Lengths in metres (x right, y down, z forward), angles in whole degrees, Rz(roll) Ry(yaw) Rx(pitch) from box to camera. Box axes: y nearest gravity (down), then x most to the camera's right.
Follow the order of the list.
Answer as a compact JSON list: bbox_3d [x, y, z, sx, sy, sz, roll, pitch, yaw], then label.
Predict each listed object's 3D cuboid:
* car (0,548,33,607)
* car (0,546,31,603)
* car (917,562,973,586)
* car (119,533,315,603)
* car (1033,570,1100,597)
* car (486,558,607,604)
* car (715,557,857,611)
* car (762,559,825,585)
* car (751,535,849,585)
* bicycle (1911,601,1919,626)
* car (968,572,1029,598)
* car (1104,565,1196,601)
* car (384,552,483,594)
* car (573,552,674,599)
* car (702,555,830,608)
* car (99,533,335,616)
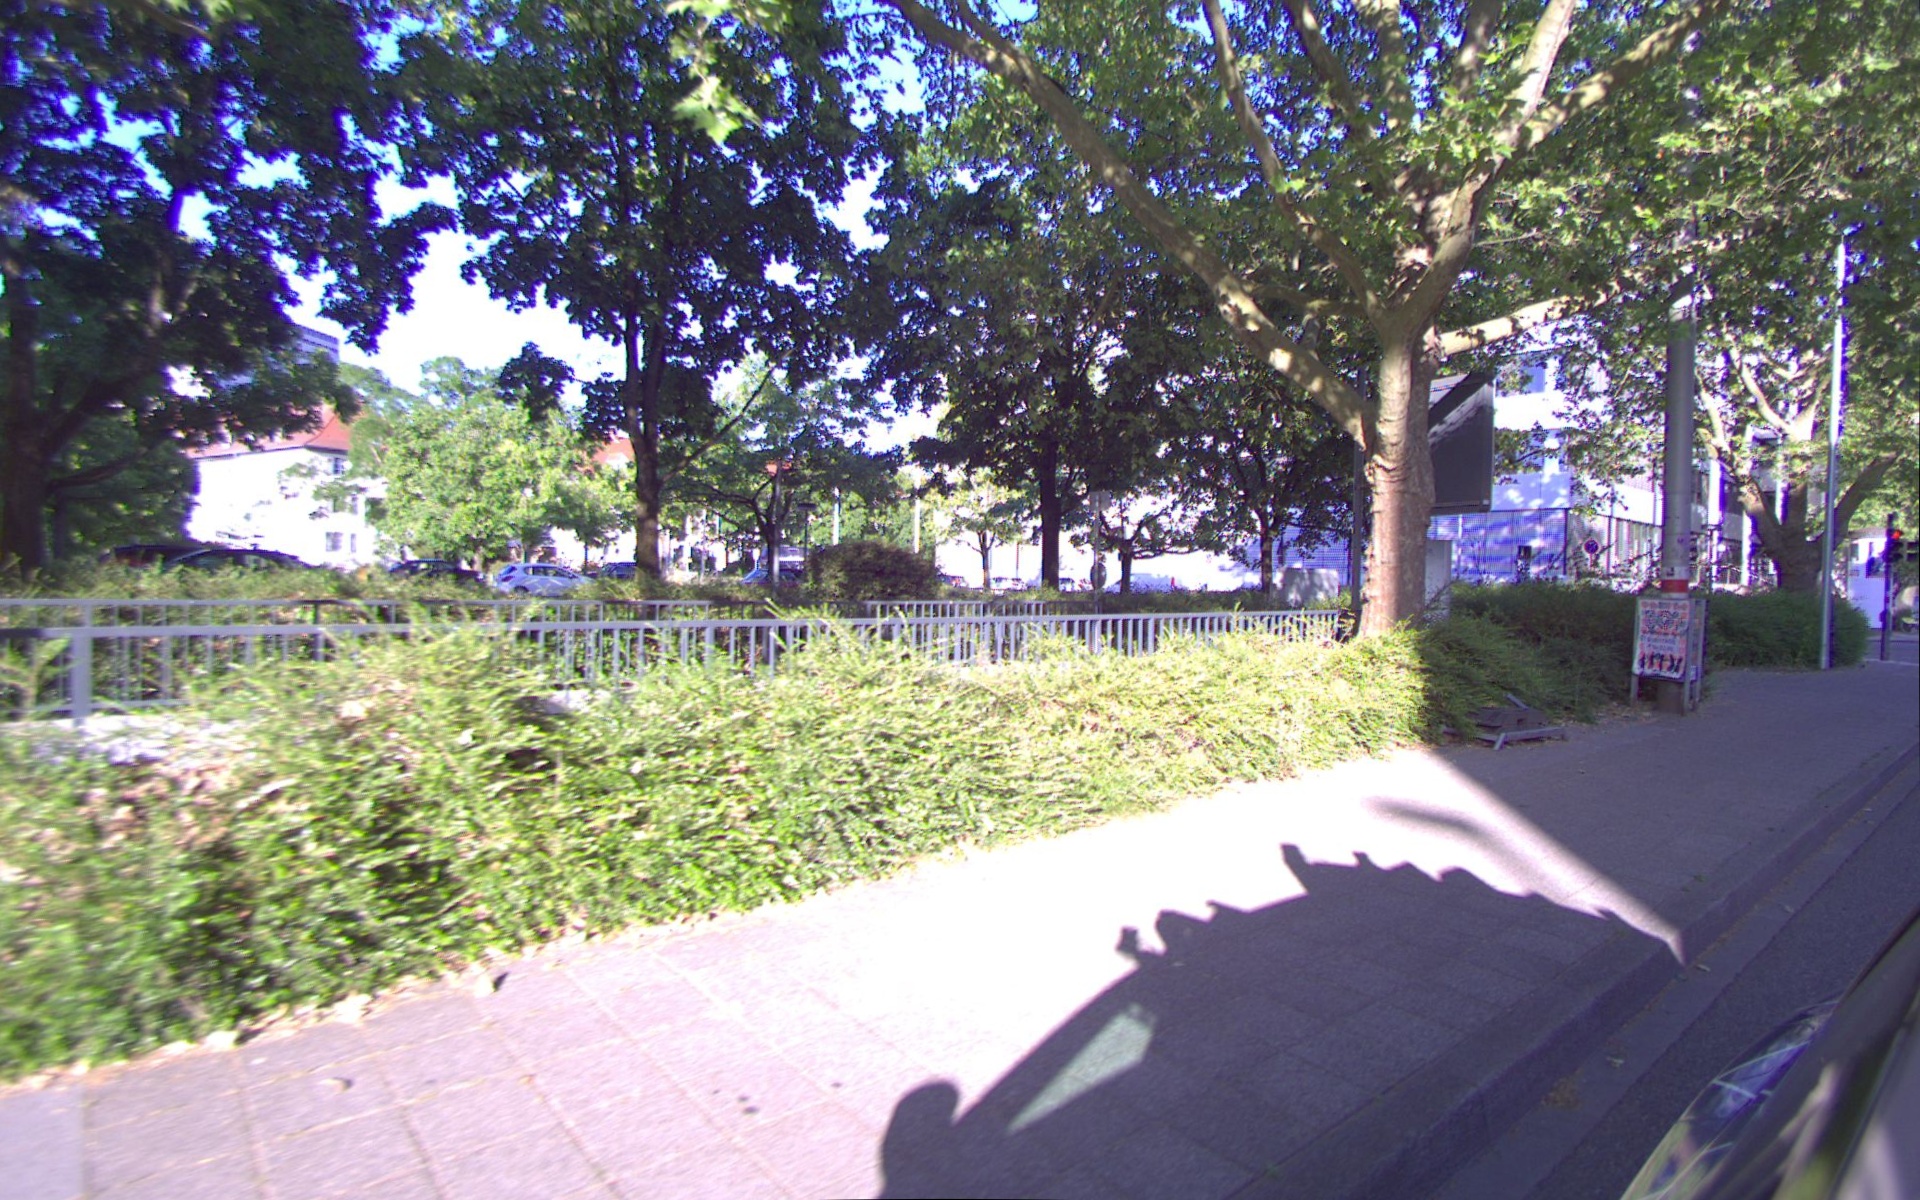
[{"bbox_3d":[-28.419,-0.638,28.039,3.930,1.647,1.921,1,0,-41],"label":"car"},{"bbox_3d":[-35.592,-0.938,35.786,1.994,2.038,3.937,3,2,43],"label":"car"},{"bbox_3d":[-1.033,-1.777,67.595,1.602,1.503,3.843,0,2,-43],"label":"car"},{"bbox_3d":[-18.944,-0.756,25.902,3.930,1.647,1.551,1,0,-41],"label":"car"},{"bbox_3d":[6.333,-0.984,60.568,1.602,1.503,3.843,0,2,-43],"label":"car"},{"bbox_3d":[-15.941,-0.692,39.078,3.930,1.647,1.921,1,0,-41],"label":"car"},{"bbox_3d":[-5.558,-0.492,32.687,4.238,1.621,1.784,1,1,-43],"label":"car"},{"bbox_3d":[-12.748,-2.153,77.531,4.892,1.808,2.060,4,3,40],"label":"car"},{"bbox_3d":[-8.740,-2.151,55.541,5.072,2.605,1.996,0,1,-43],"label":"car"},{"bbox_3d":[40.803,0.593,42.089,1.618,1.011,0.617,3,4,24],"label":"bicycle"},{"bbox_3d":[2.422,-0.978,64.119,1.602,1.503,3.843,0,2,-43],"label":"car"},{"bbox_3d":[10.558,-0.952,56.373,2.073,1.851,4.711,0,2,-43],"label":"car"},{"bbox_3d":[-26.012,-1.299,50.054,3.976,1.971,1.920,1,0,-42],"label":"car"},{"bbox_3d":[-16.156,-1.148,48.673,4.238,2.115,1.784,1,1,-43],"label":"car"},{"bbox_3d":[-7.007,-0.655,36.780,4.238,1.834,1.784,1,1,-43],"label":"car"},{"bbox_3d":[-16.180,-0.533,22.159,1.759,1.646,3.936,2,2,44],"label":"car"}]
